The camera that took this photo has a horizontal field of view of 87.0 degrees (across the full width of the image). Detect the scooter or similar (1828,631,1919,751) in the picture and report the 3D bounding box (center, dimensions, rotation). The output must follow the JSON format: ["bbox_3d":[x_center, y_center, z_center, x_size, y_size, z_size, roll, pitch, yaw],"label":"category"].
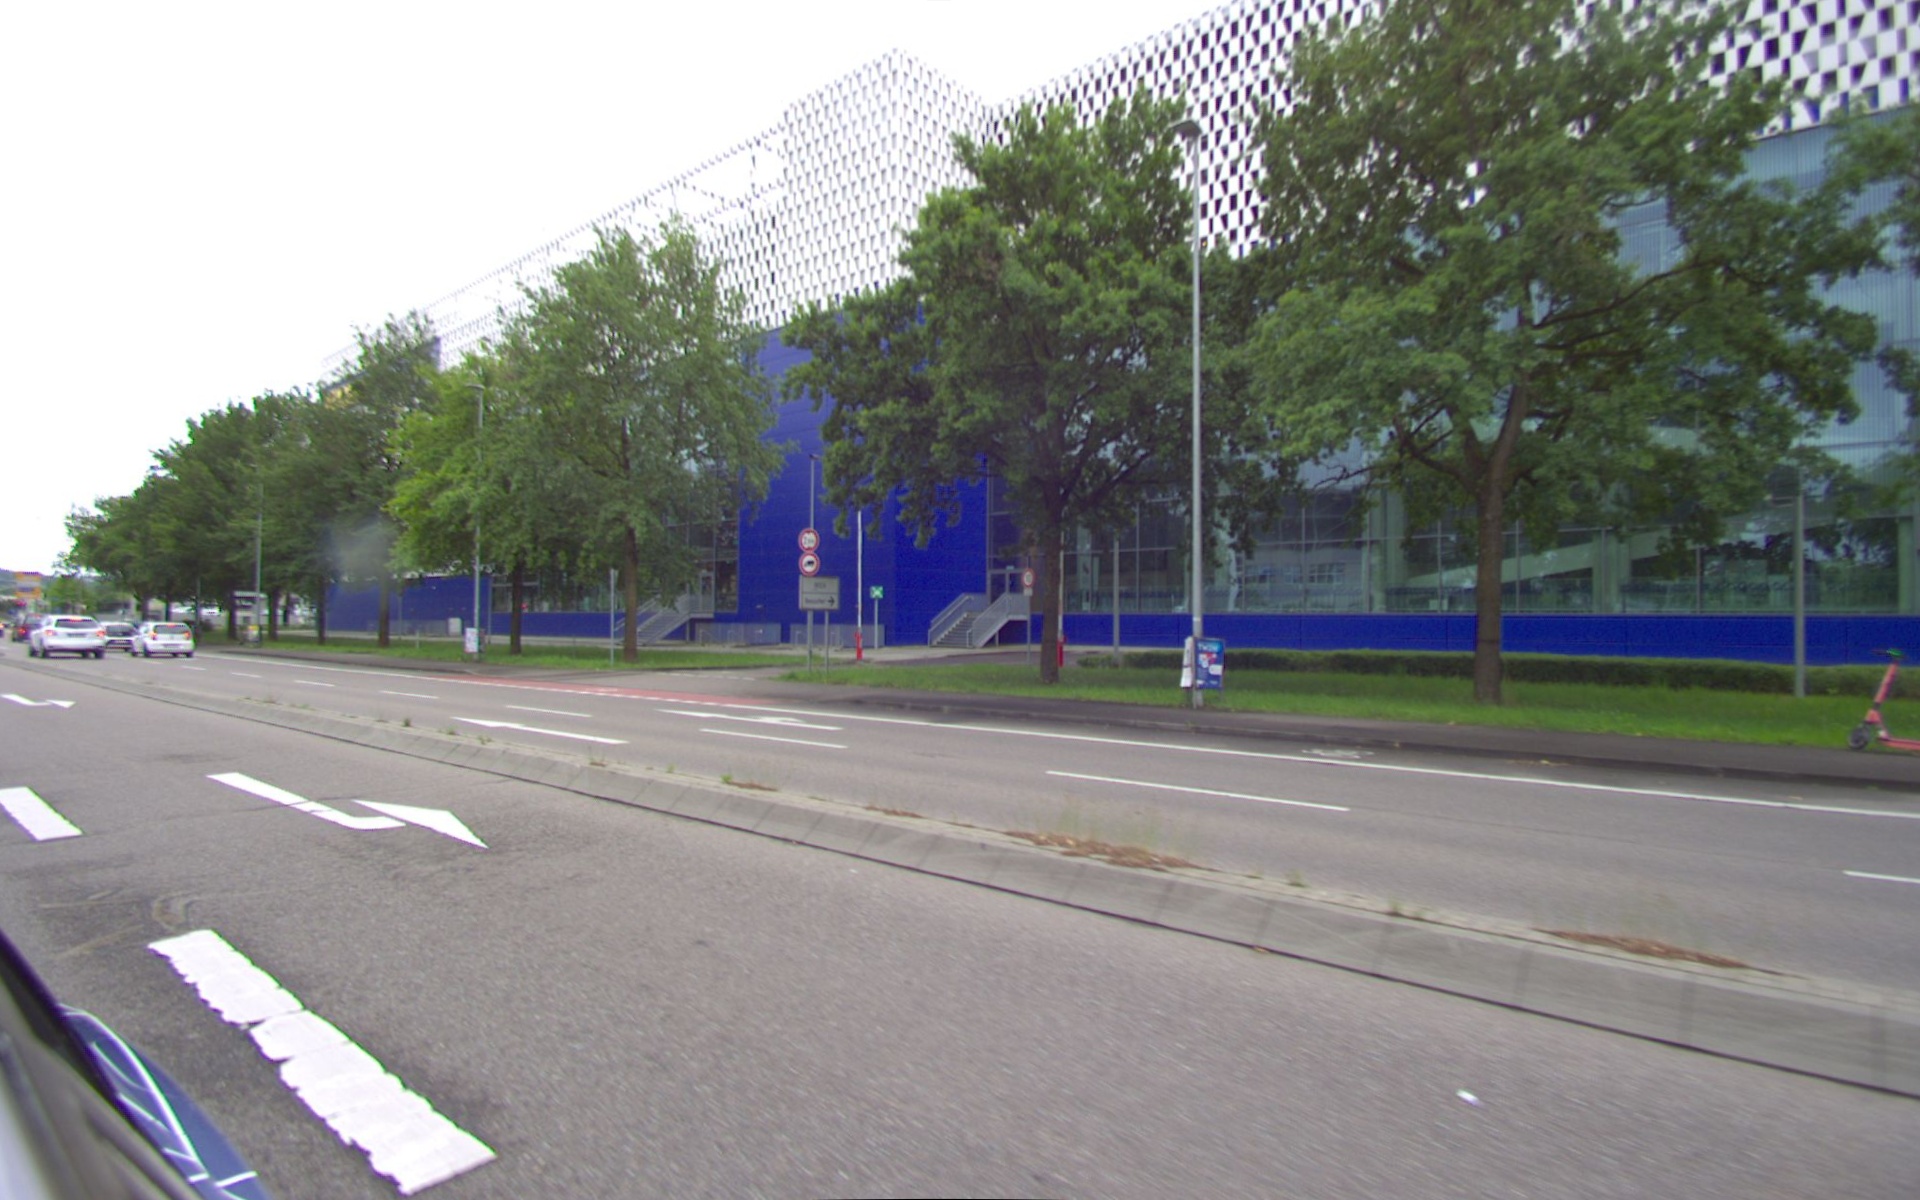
[{"bbox_3d":[10.814,1.018,11.394,0.441,1.331,1.508,1,-2,-39],"label":"scooter or similar"}]

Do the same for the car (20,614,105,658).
[{"bbox_3d":[-34.869,1.390,39.280,4.510,1.599,1.799,-1,-4,41],"label":"car"}]

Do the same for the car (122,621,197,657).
[{"bbox_3d":[-33.706,1.652,42.583,3.646,1.439,1.660,-1,-3,38],"label":"car"}]

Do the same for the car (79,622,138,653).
[{"bbox_3d":[-41.737,1.829,49.583,3.609,1.434,1.607,-1,-3,41],"label":"car"}]

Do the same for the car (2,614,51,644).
[{"bbox_3d":[-62.819,1.959,68.084,4.905,1.939,1.749,-1,-3,40],"label":"car"}]
